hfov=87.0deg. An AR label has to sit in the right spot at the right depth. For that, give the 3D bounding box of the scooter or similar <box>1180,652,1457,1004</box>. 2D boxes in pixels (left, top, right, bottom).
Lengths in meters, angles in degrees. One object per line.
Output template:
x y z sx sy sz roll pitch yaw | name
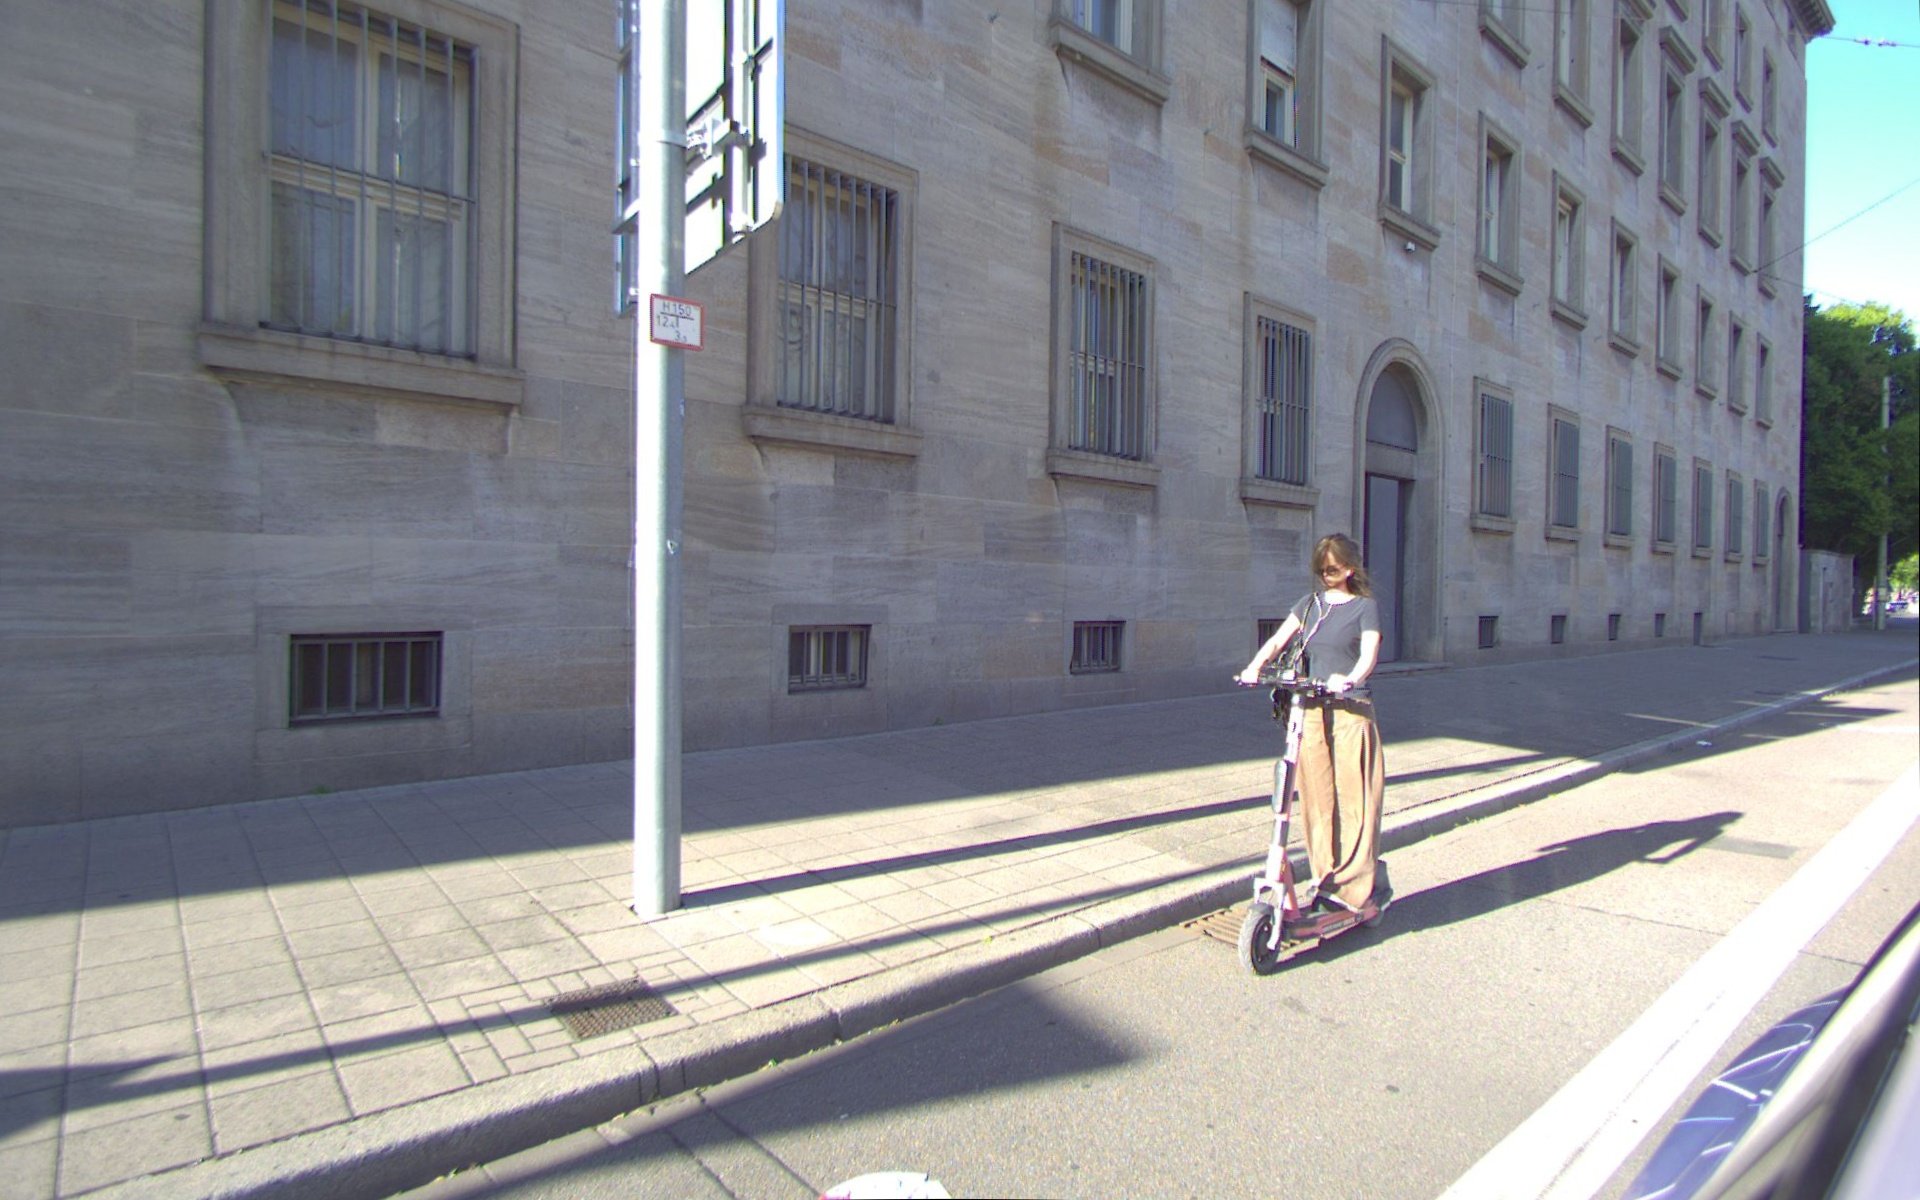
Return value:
1.555 0.860 4.306 1.305 1.200 0.535 0 1 -42 | scooter or similar

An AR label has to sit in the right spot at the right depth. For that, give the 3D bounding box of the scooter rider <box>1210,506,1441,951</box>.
1.545 0.480 4.305 0.547 1.692 0.730 0 1 -41 | scooter rider
